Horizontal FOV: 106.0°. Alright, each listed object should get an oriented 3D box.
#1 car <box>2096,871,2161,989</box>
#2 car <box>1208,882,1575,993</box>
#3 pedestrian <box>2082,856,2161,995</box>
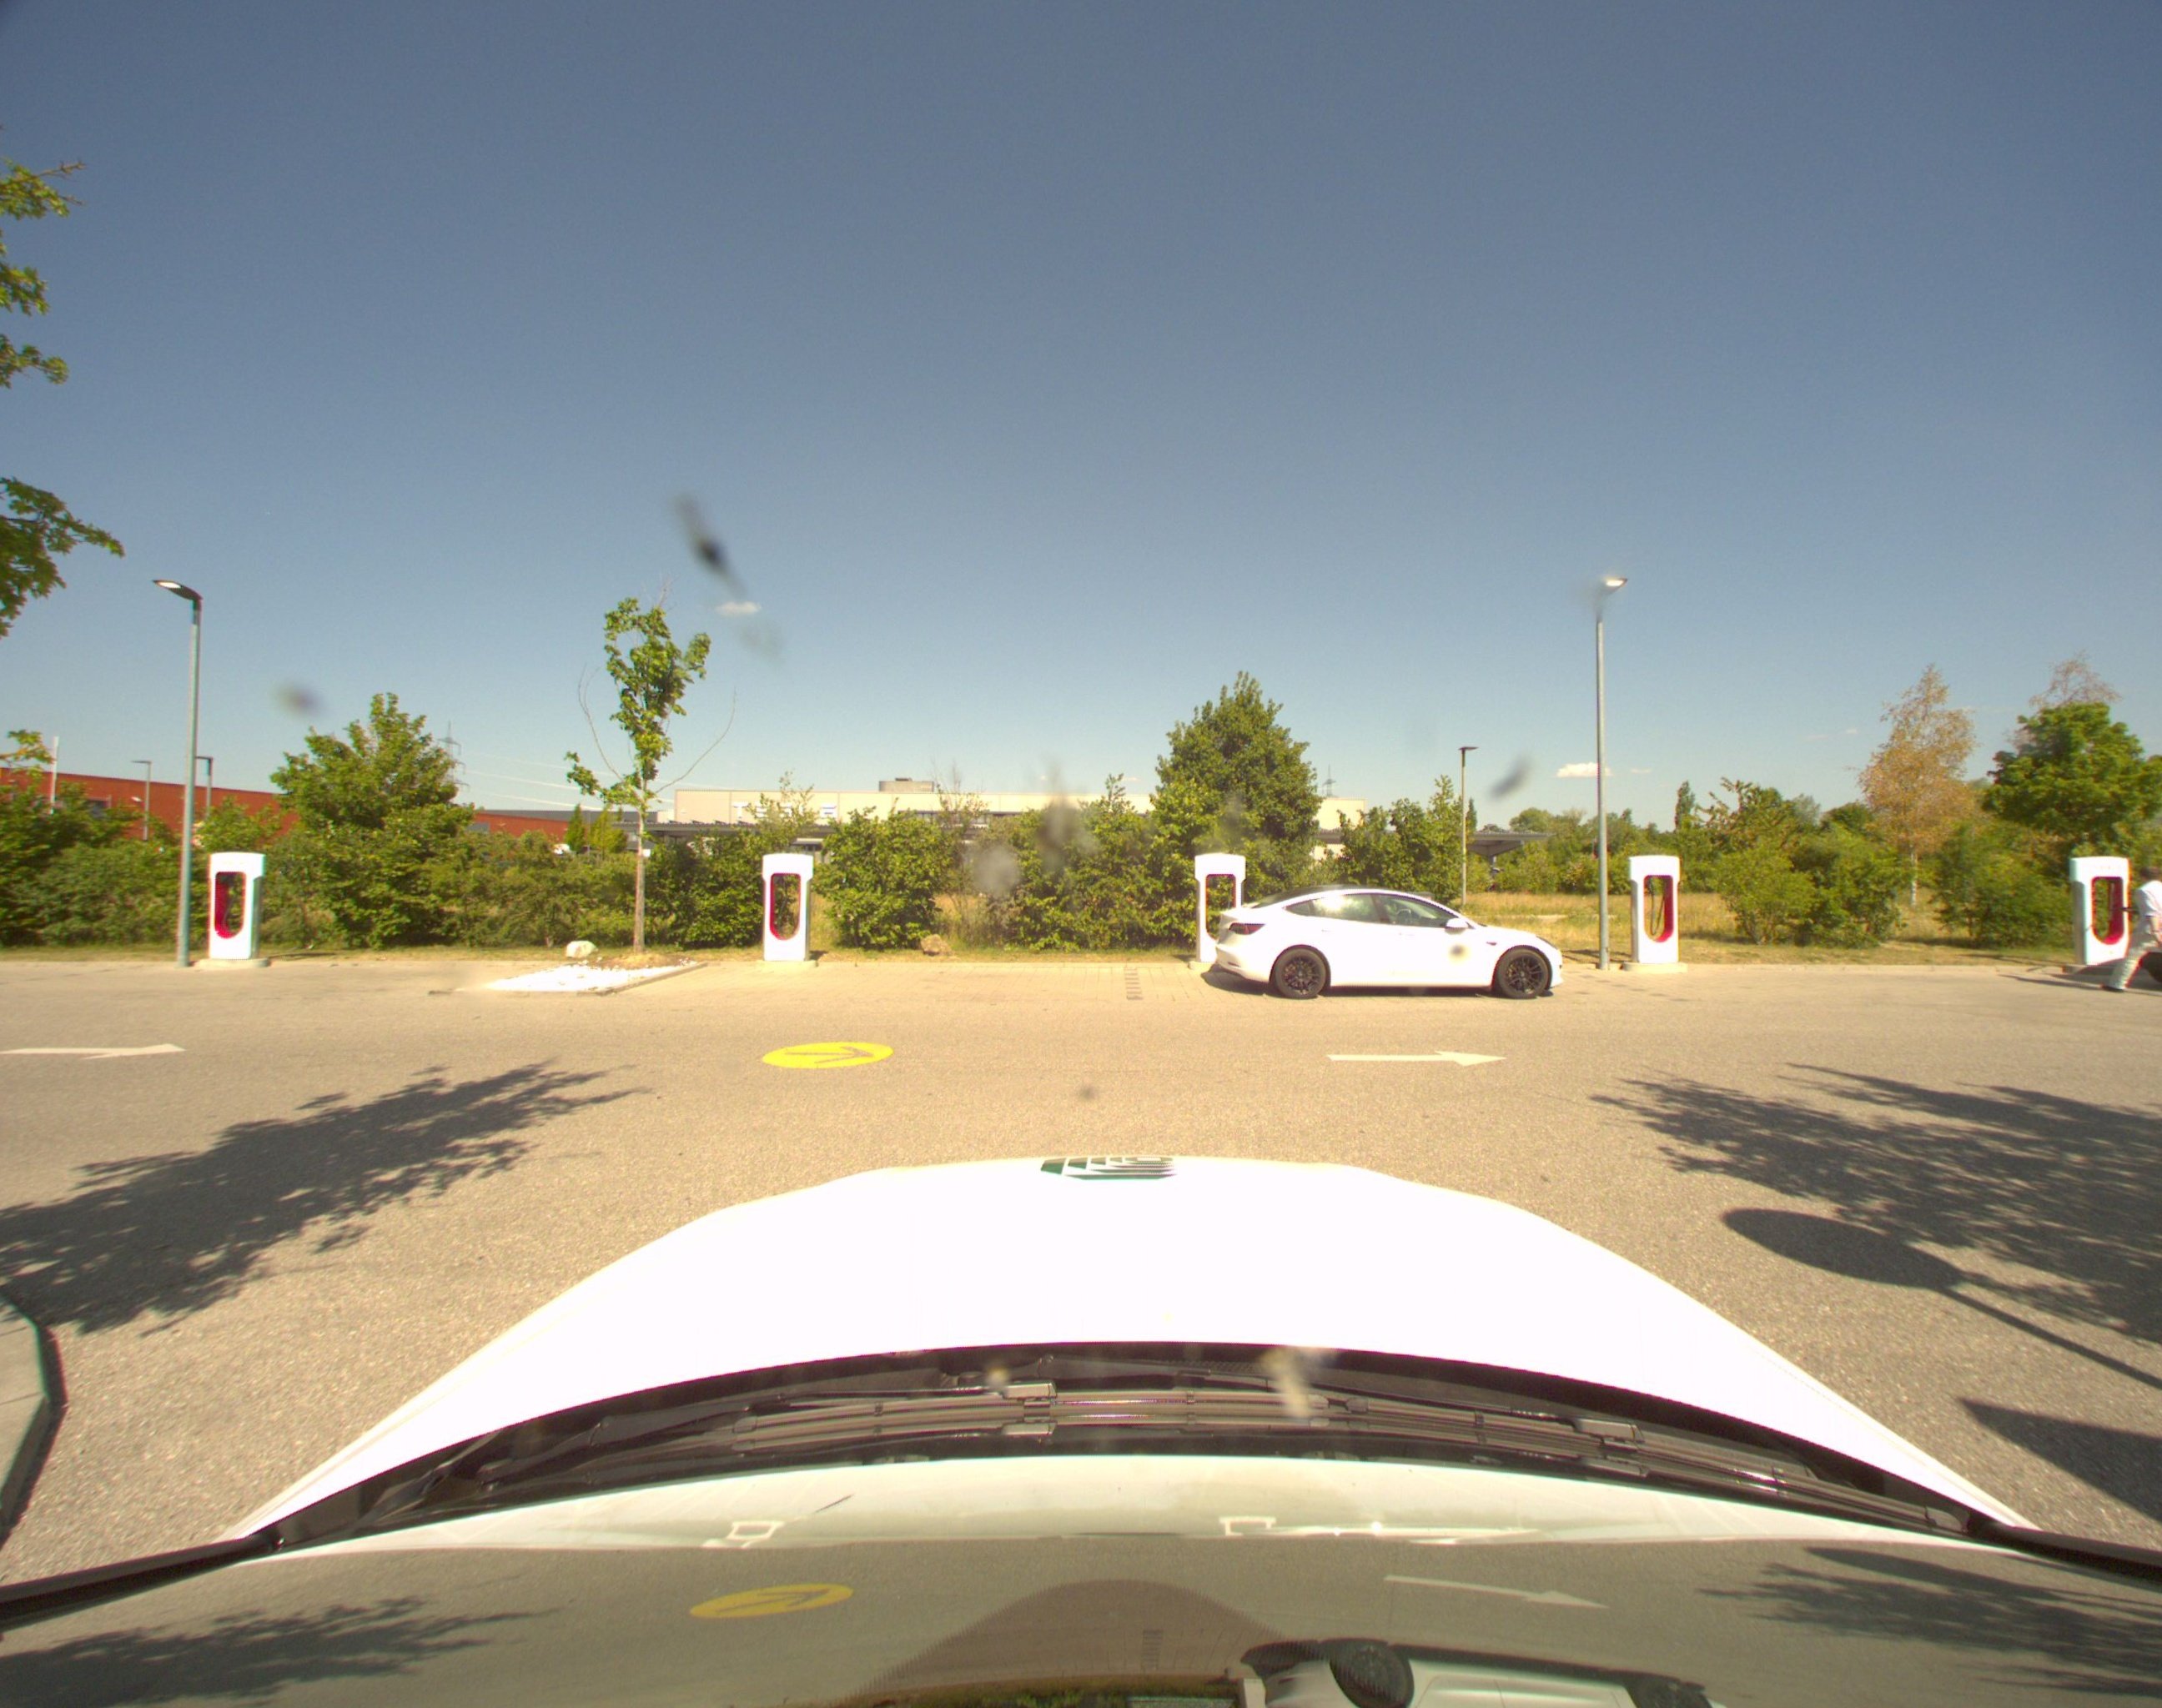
[{"bbox_3d":[16.993,1.038,10.986,4.463,1.600,1.868,0,-1,-3],"label":"car"},{"bbox_3d":[4.083,1.096,11.275,4.418,1.377,1.823,0,-1,1],"label":"car"},{"bbox_3d":[14.389,0.931,10.895,0.733,1.800,1.034,0,0,-4],"label":"pedestrian"}]
